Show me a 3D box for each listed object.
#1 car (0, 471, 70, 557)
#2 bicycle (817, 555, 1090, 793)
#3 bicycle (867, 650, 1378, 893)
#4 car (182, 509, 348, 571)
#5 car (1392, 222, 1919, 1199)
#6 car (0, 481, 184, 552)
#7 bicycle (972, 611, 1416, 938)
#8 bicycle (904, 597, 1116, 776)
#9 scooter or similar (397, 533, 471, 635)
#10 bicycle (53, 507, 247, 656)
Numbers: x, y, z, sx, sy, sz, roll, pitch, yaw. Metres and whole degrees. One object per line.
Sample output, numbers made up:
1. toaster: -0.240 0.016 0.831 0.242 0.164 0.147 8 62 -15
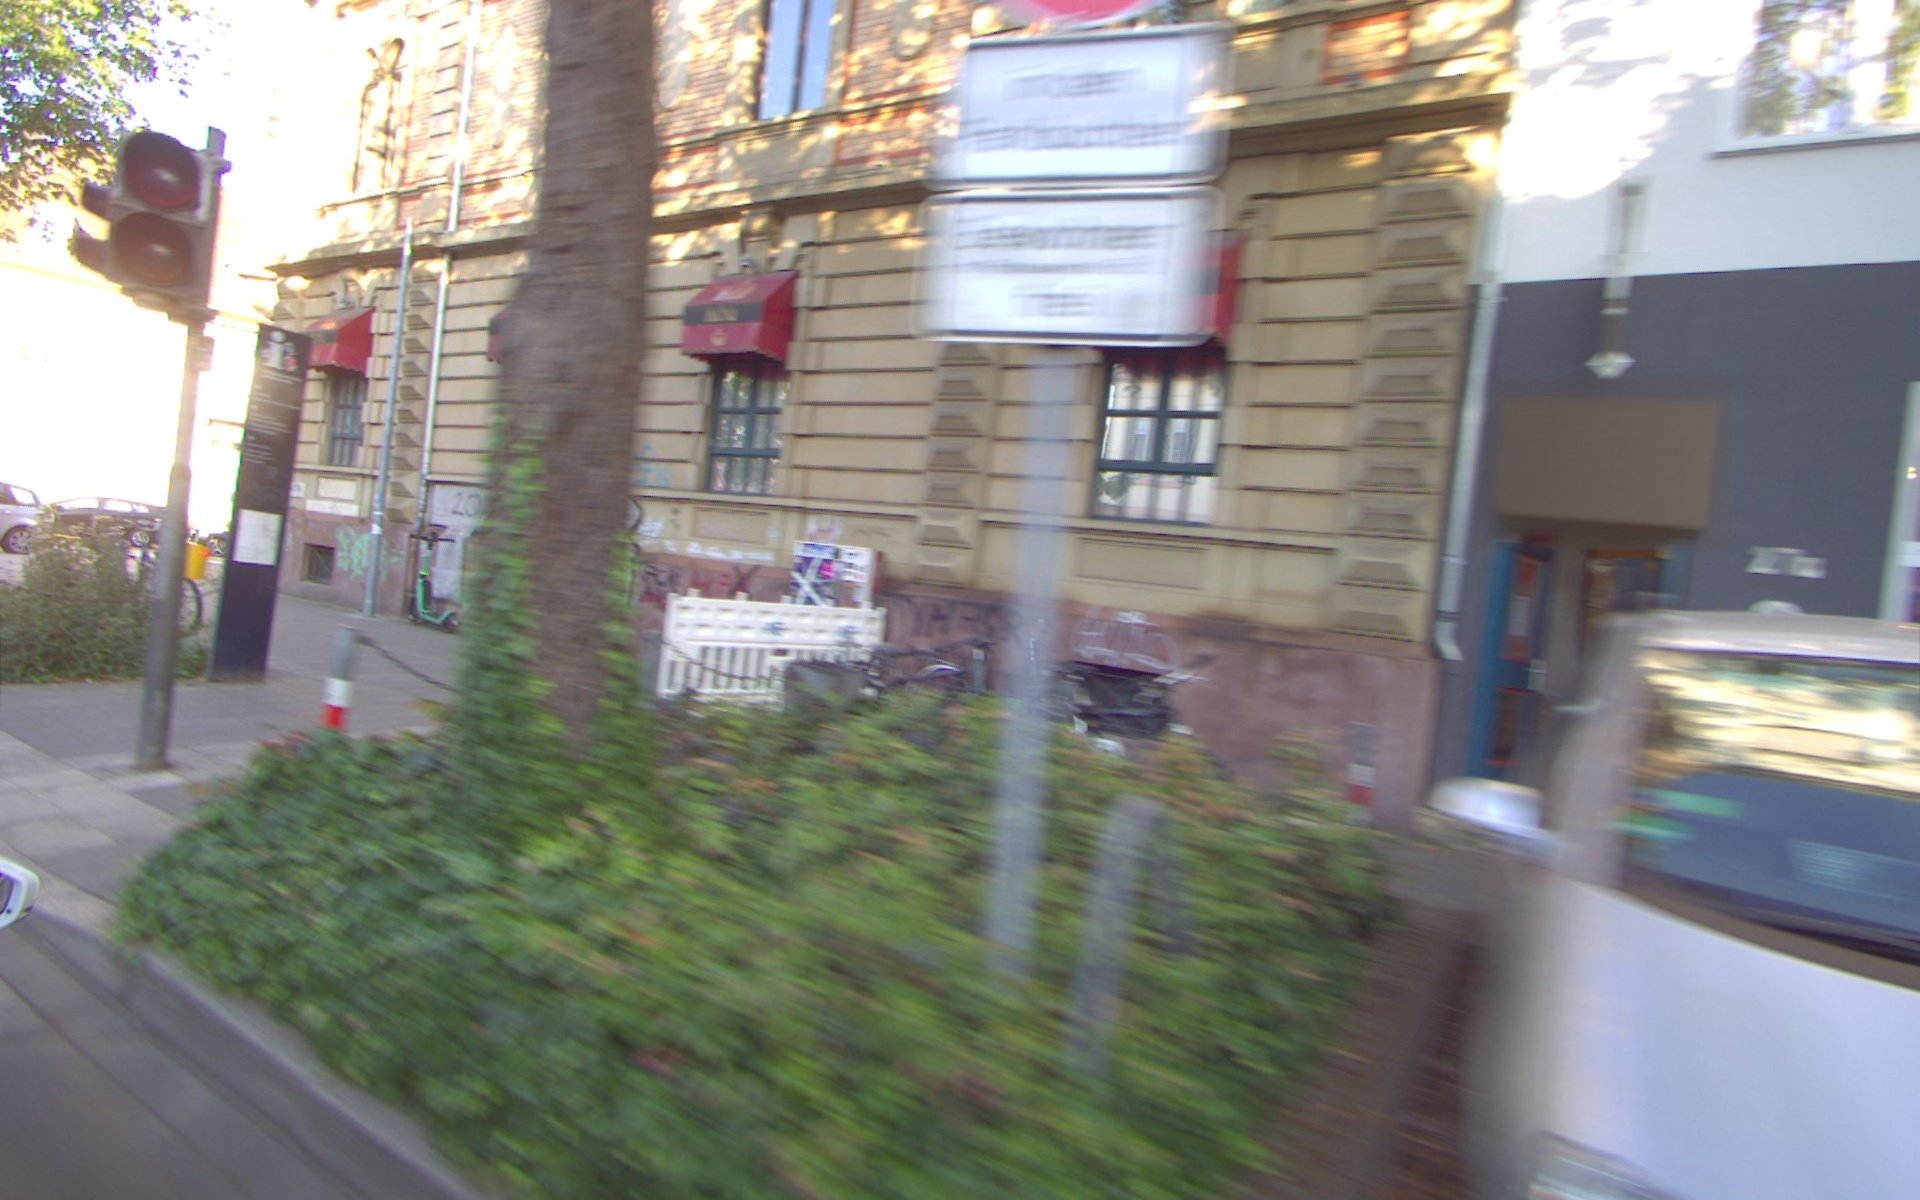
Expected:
1. car: -20.917 -1.955 20.041 1.850 1.674 4.354 7 0 16
2. bicycle: -0.086 0.418 6.437 1.697 1.251 0.385 7 2 34
3. bicycle: 0.681 0.724 4.778 2.291 0.672 0.582 6 -1 32
4. car: -23.699 -2.038 34.483 4.475 1.387 1.757 7 3 -35
5. car: 2.469 0.765 2.723 1.917 1.939 4.546 7 1 29
6. car: -27.415 -2.611 31.705 4.379 1.562 1.850 7 0 -33
7. bicycle: 1.162 0.812 5.375 2.127 1.254 0.581 7 1 36
8. bicycle: 0.382 0.682 8.428 1.697 1.226 0.385 7 2 34
9. scooter or similar: -6.779 -0.212 12.950 1.074 1.209 0.251 7 1 33
10. bicycle: -7.744 -0.198 9.583 2.210 1.167 0.524 7 1 28
